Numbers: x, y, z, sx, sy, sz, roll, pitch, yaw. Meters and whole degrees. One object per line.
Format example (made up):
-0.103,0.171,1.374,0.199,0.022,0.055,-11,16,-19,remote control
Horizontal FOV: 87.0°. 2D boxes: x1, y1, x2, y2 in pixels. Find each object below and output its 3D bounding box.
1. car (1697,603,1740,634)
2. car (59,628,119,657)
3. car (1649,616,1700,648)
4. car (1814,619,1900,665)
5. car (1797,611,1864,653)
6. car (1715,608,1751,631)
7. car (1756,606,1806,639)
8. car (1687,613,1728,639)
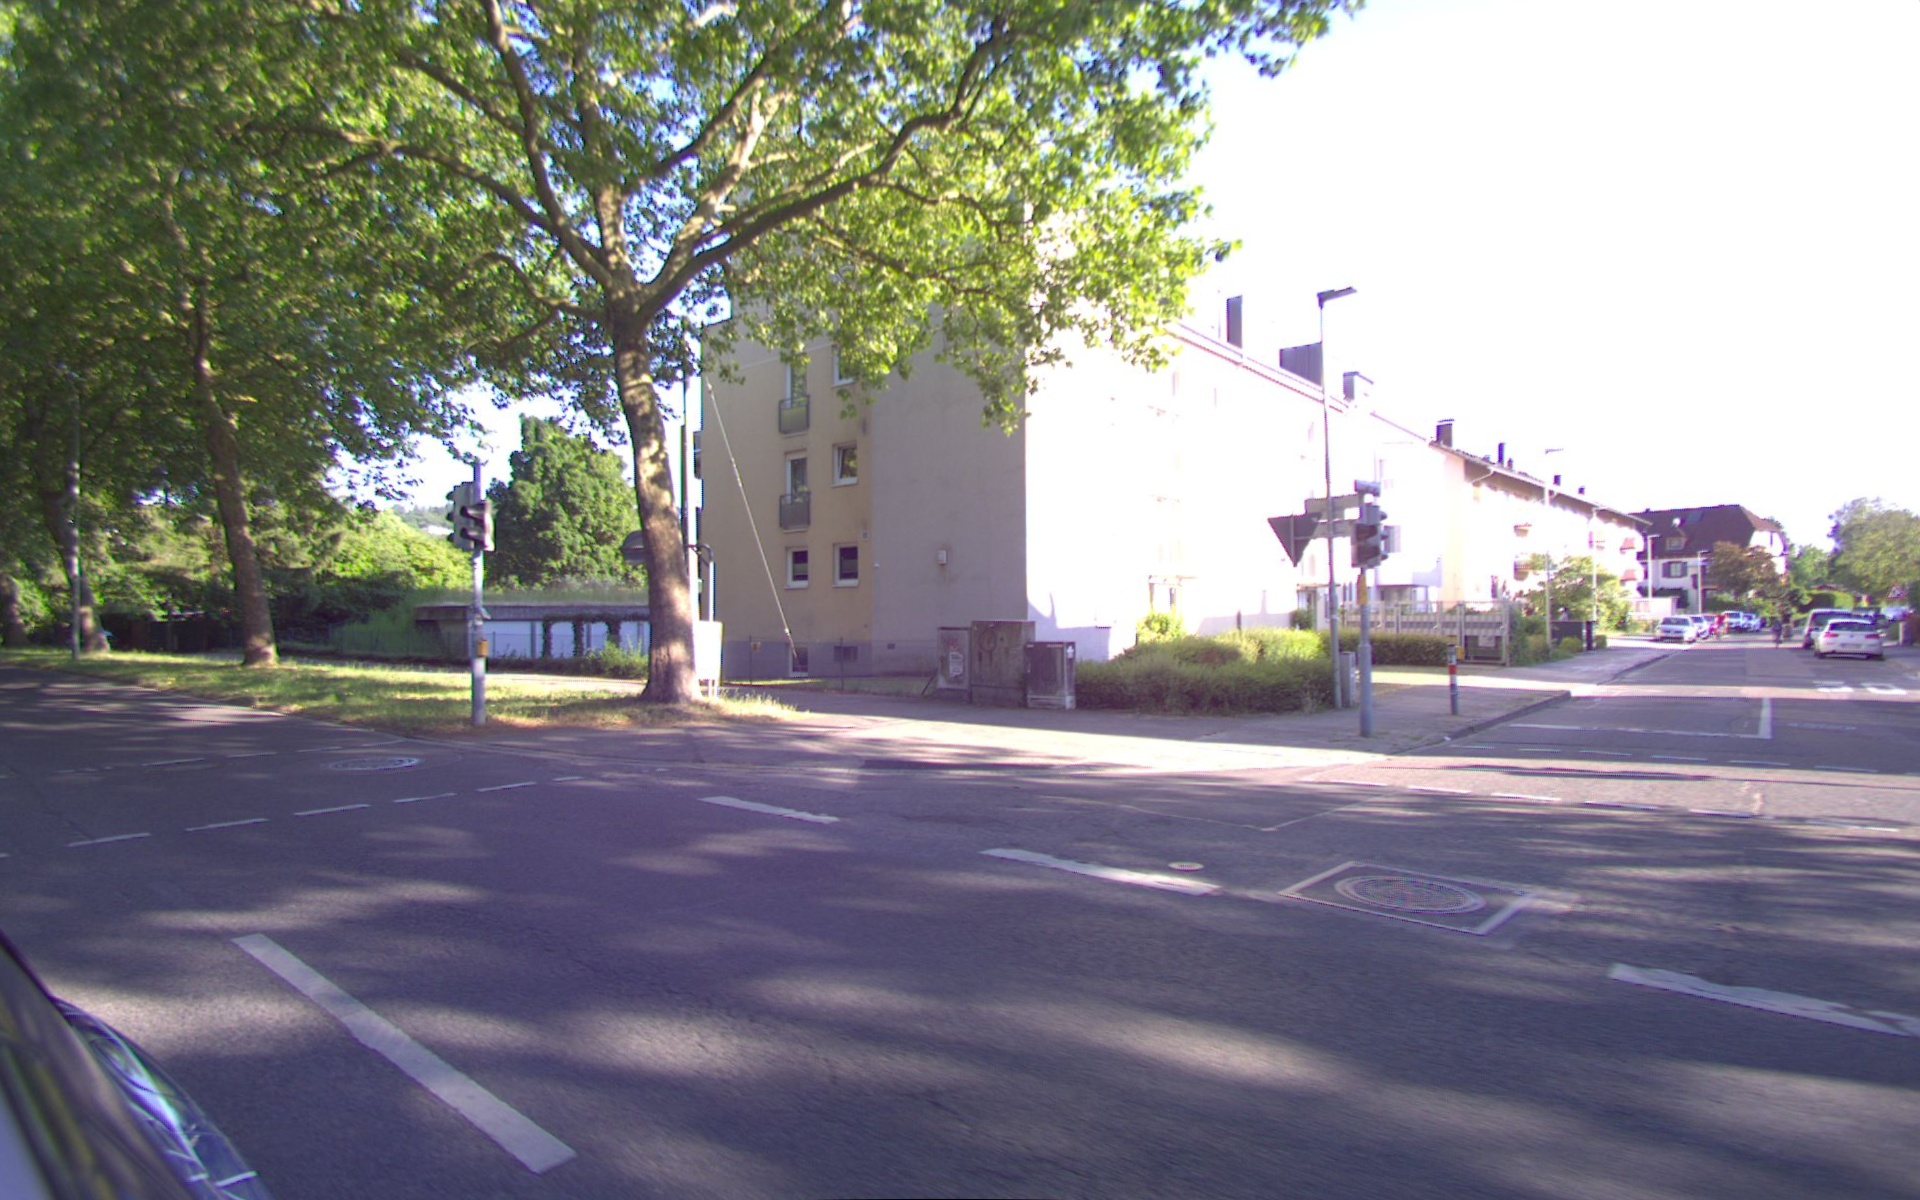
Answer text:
46.210,1.120,61.607,1.997,1.782,3.949,-2,-2,38,car
-47.549,2.283,55.227,3.996,1.542,1.791,-1,-2,39,car
39.428,1.725,55.799,1.998,1.683,3.947,-2,-2,39,car
31.994,1.464,36.202,1.997,1.498,3.949,-2,-2,38,car
38.760,1.408,45.137,1.997,1.782,3.949,-2,-2,38,car
59.628,1.511,78.043,1.998,1.683,3.947,-2,-2,39,car
46.116,1.235,56.900,1.997,1.782,3.949,-2,-2,38,car
50.019,1.725,67.707,1.998,1.683,3.947,-2,-2,39,car
